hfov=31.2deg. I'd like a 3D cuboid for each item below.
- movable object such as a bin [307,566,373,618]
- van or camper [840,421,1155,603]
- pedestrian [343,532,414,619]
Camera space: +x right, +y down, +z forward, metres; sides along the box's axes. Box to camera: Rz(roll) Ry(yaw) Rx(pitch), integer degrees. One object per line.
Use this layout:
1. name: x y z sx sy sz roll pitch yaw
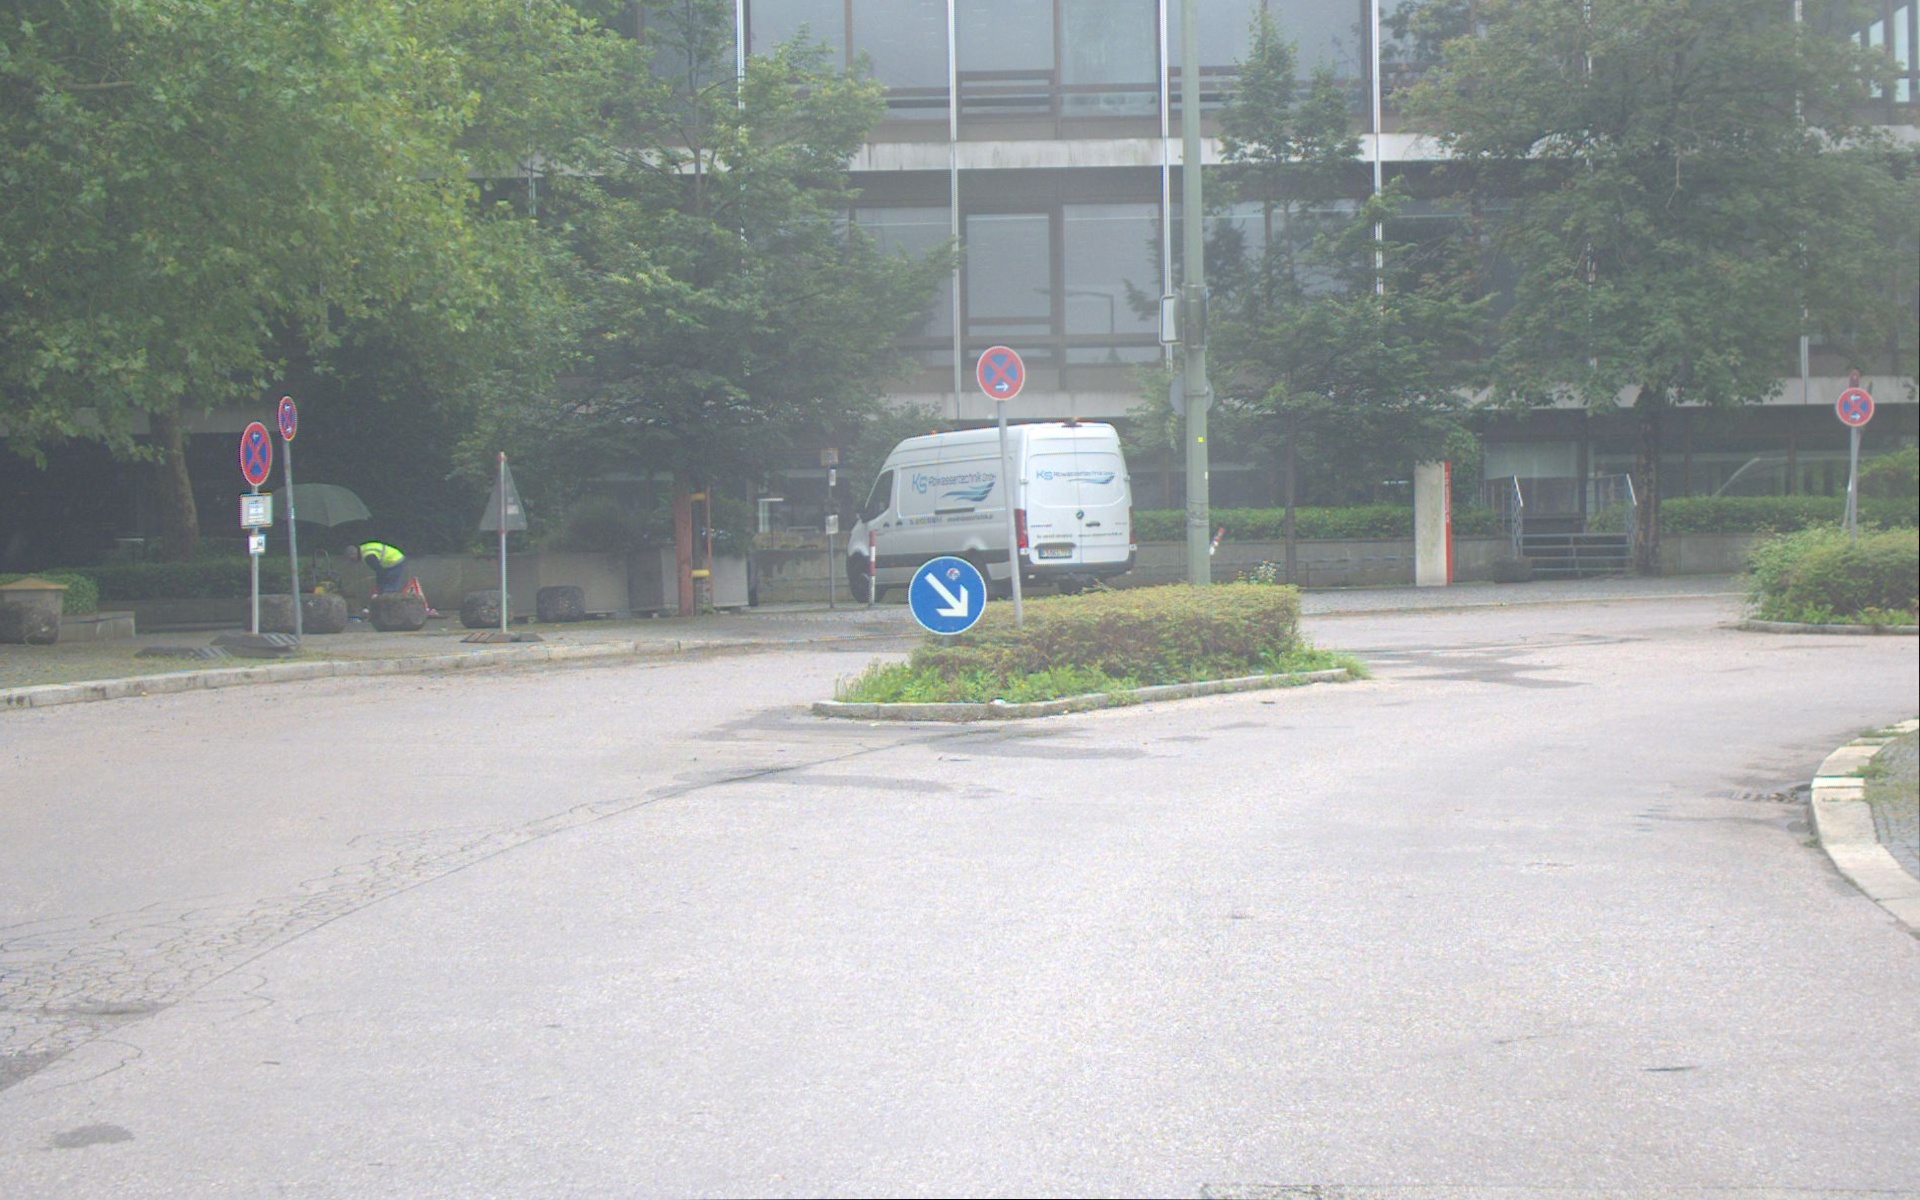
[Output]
1. movable object such as a bin: -9.183 -0.116 50.931 0.834 0.751 0.572 0 1 3
2. van or camper: 0.461 -1.284 53.036 2.155 2.572 6.540 -1 0 -25
3. pedestrian: -8.618 -0.371 50.959 0.926 1.273 0.542 0 1 2
